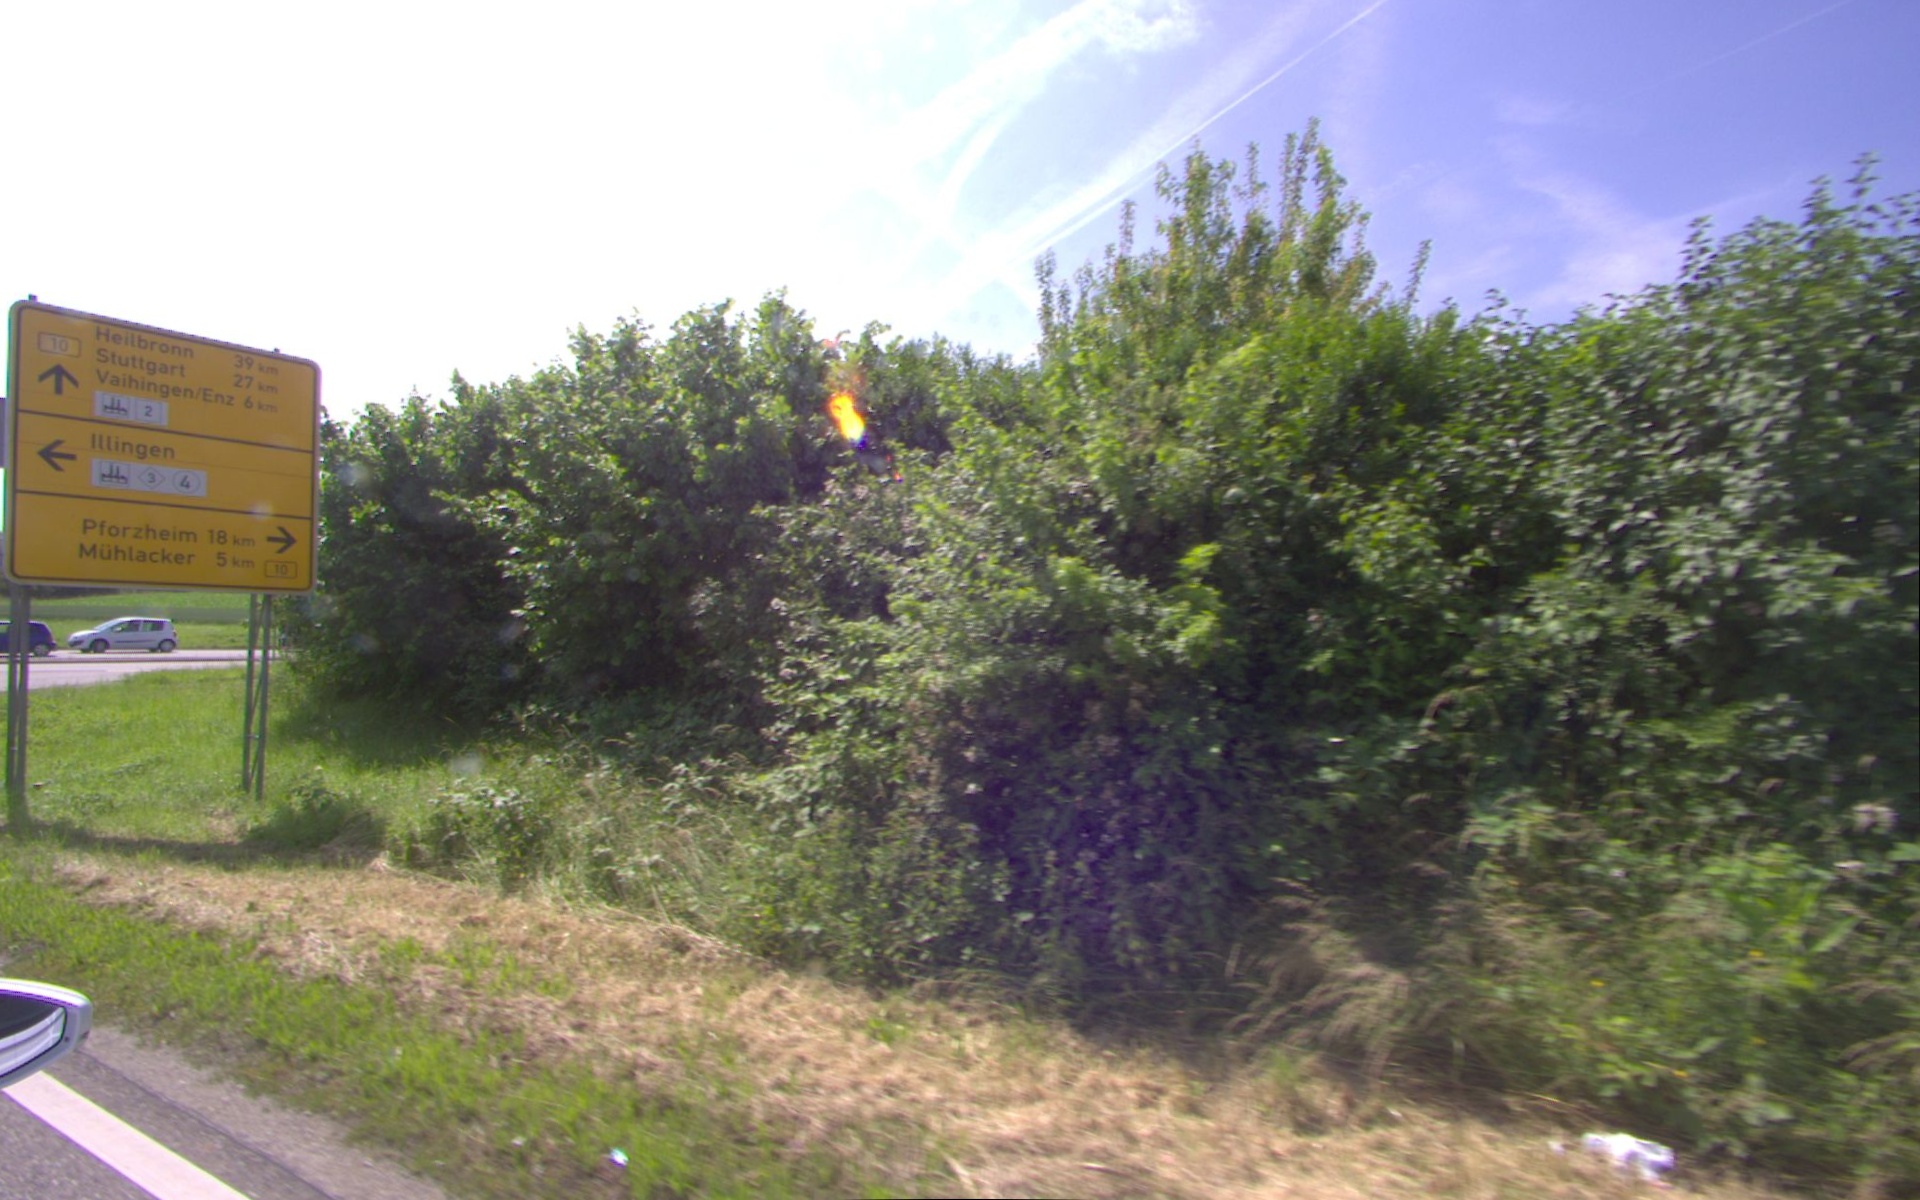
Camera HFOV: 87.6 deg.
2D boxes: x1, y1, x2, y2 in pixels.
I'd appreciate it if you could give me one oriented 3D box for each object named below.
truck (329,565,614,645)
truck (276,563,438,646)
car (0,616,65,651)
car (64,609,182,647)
[{"bbox_3d":[-27.086,0.489,56.541,14.178,4.031,3.001,2,-1,-41],"label":"truck"},{"bbox_3d":[-31.607,0.338,52.625,6.880,4.046,3.001,2,-1,-41],"label":"truck"},{"bbox_3d":[-38.719,1.335,40.421,3.824,1.374,1.660,2,-2,-44],"label":"car"},{"bbox_3d":[-38.033,1.277,45.562,1.738,1.654,3.816,-1,-2,35],"label":"car"}]
